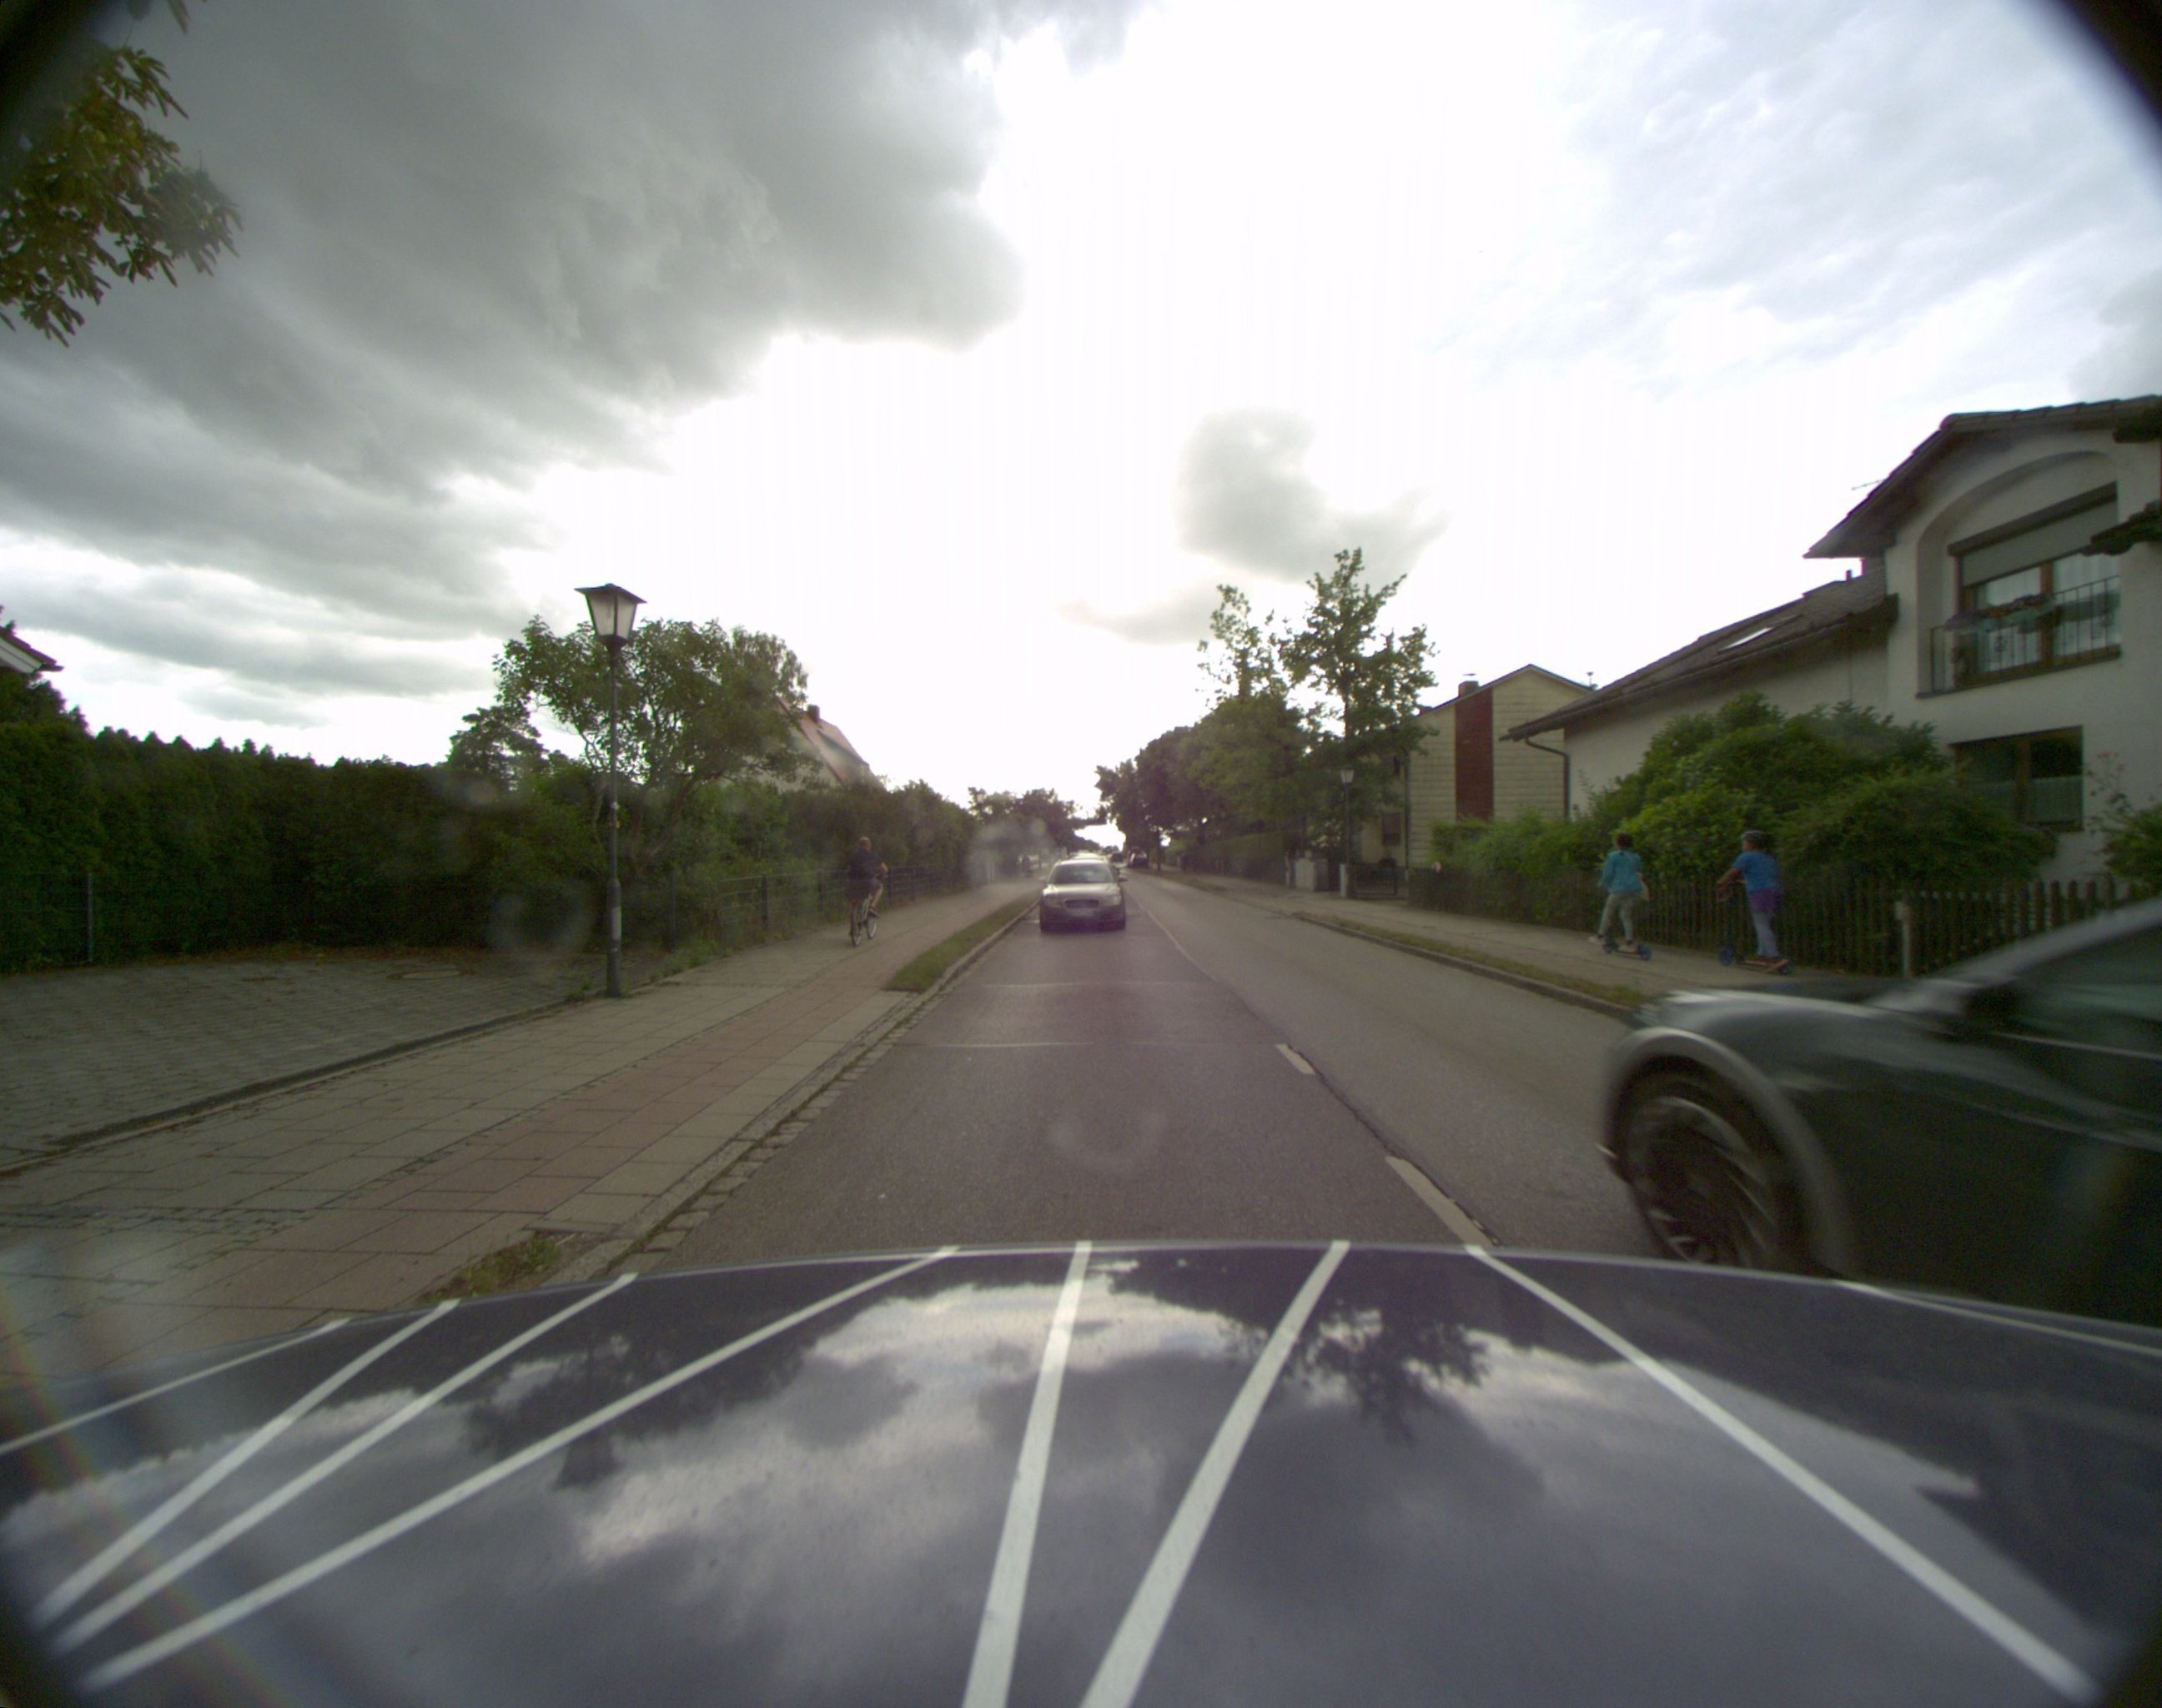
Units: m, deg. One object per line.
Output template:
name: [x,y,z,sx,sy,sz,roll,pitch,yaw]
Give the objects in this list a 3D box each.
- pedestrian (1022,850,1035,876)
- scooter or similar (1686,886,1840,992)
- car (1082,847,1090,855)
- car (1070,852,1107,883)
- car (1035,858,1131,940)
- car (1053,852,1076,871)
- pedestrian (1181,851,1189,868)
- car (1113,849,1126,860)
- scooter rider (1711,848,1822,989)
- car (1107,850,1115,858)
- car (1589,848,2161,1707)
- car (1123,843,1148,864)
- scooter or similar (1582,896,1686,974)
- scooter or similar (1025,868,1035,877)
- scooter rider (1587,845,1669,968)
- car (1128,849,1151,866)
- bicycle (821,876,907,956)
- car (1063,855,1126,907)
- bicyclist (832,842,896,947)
pedestrian: [-3.287,0.579,47.433,0.793,1.592,0.671,-1,1,-2]
scooter or similar: [7.437,0.895,8.350,0.663,1.031,1.178,-1,0,2]
car: [1.258,-0.810,186.788,1.998,2.002,4.000,-1,0,1]
car: [0.398,0.669,40.423,1.866,1.518,4.122,-1,0,0]
car: [0.050,0.870,16.622,1.809,1.476,4.270,-1,0,0]
car: [-1.345,0.607,62.515,1.866,1.518,4.122,-1,0,-1]
pedestrian: [9.046,0.458,66.237,0.631,1.429,0.563,-1,1,1]
car: [6.353,0.028,126.605,1.969,1.842,4.948,-1,0,1]
scooter rider: [7.426,0.673,8.254,0.664,1.464,0.581,-1,1,1]
car: [7.272,0.001,183.044,1.904,1.873,5.010,-1,0,1]
car: [2.916,0.783,0.792,1.935,1.566,4.311,-1,0,1]
car: [6.128,-0.026,85.961,2.246,2.258,4.469,-1,0,-2]
scooter or similar: [6.815,0.980,9.407,0.522,0.845,1.061,-1,0,2]
scooter or similar: [-3.142,1.130,46.745,0.618,0.553,0.742,-1,0,-3]
scooter rider: [6.831,0.634,9.512,0.504,1.481,0.716,-1,1,2]
car: [6.118,0.319,80.195,1.999,1.739,3.999,-1,0,-2]
bicycle: [-3.477,0.956,12.350,0.766,1.136,1.845,-1,0,3]
car: [0.432,0.825,25.645,1.866,1.518,4.943,-1,0,0]
bicyclist: [-3.482,0.625,12.258,0.738,1.623,0.891,1,1,4]
